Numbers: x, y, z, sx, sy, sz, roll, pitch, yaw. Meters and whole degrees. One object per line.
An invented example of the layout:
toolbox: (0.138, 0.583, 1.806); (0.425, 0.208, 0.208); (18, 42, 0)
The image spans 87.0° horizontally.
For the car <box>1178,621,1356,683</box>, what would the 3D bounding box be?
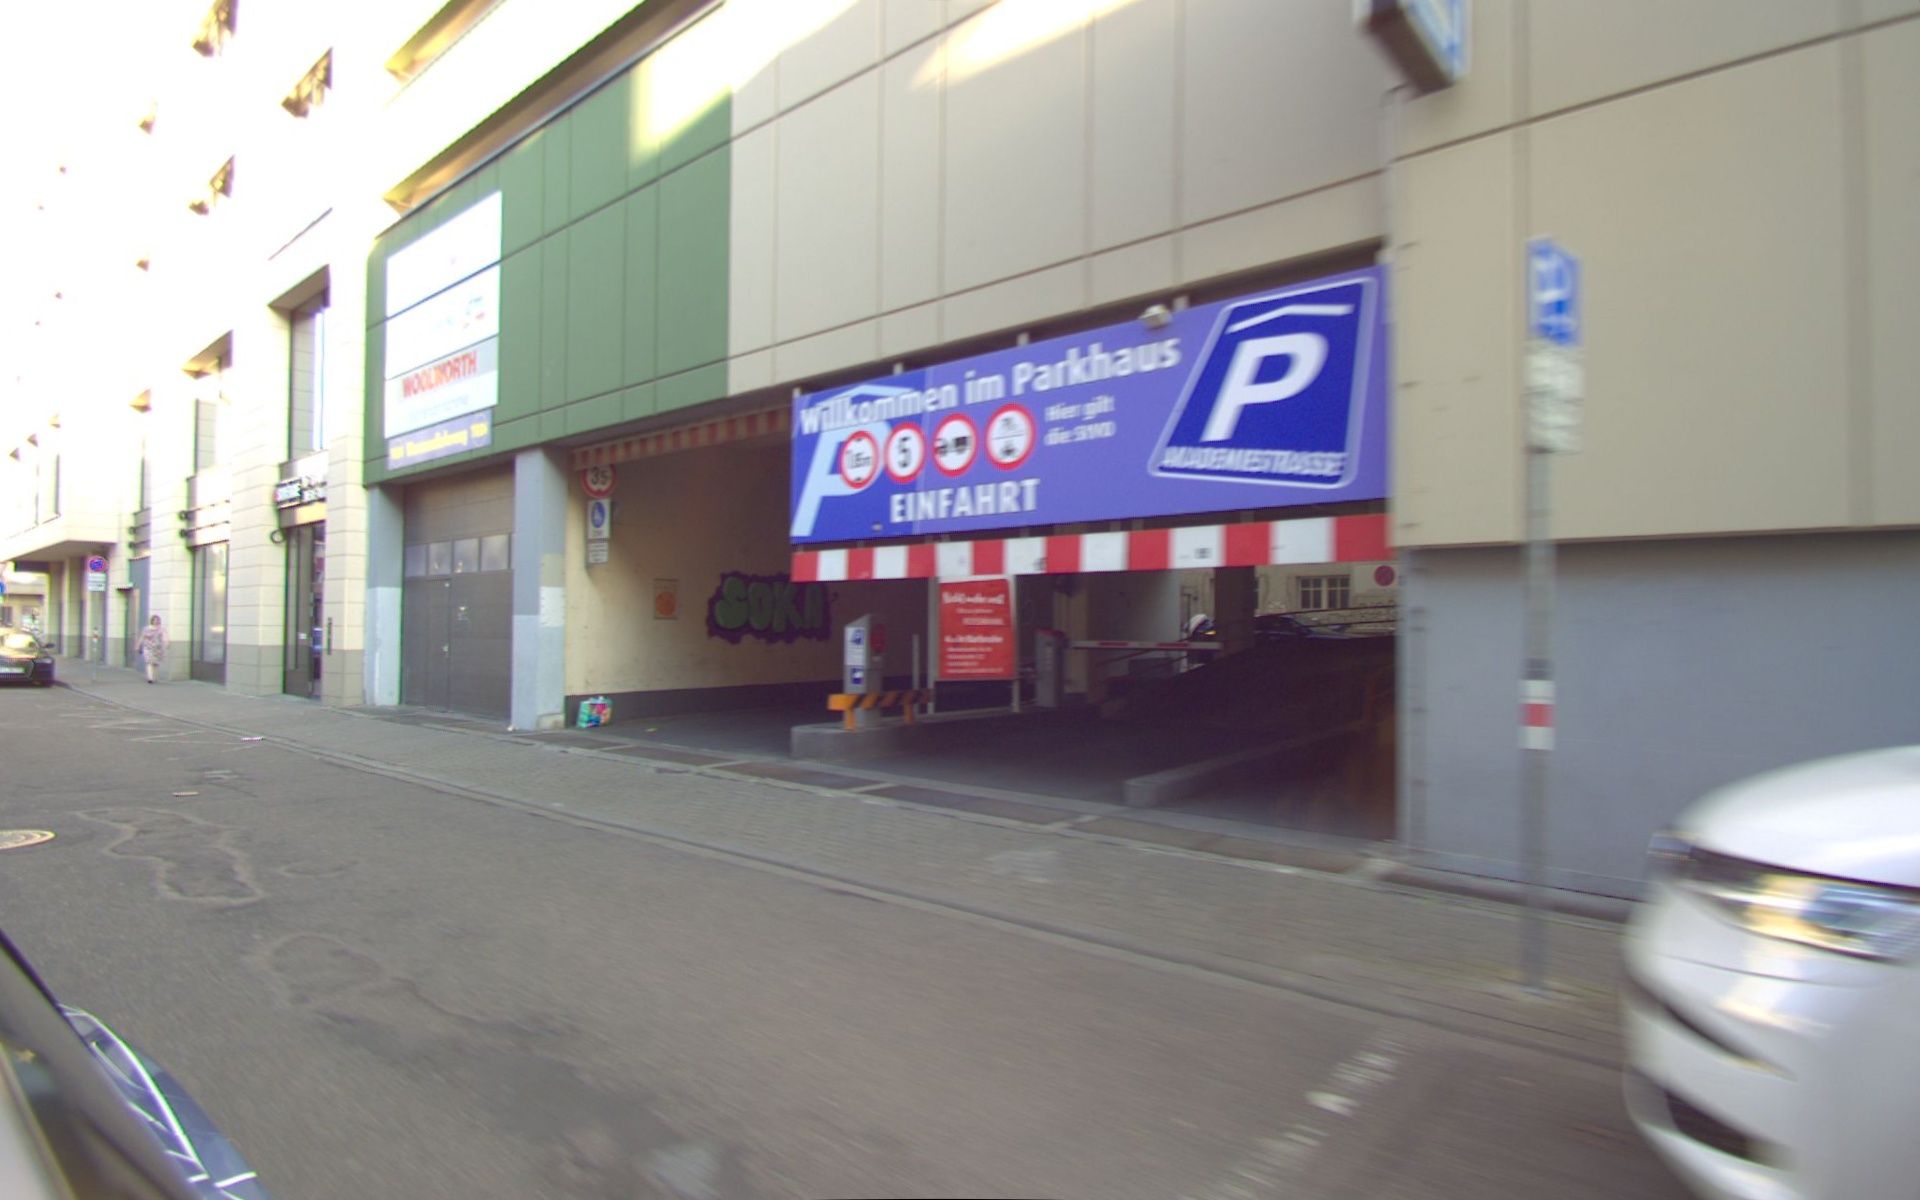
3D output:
car: (8.023, 1.311, 26.662); (4.204, 1.480, 1.610); (-1, 0, 41)

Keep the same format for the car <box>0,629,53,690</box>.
car: (-24.834, 1.474, 25.968); (4.560, 1.428, 1.971); (0, -3, 44)

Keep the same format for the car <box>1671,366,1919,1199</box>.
car: (3.907, 0.572, 1.238); (4.845, 1.955, 1.974); (-1, -4, 39)

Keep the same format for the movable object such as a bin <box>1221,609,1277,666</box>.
movable object such as a bin: (9.414, 1.198, 32.959); (1.272, 1.770, 1.347); (-1, 0, 42)

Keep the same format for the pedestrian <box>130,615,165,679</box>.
pedestrian: (-21.152, 1.215, 26.339); (0.565, 1.638, 0.612); (-2, -1, 41)

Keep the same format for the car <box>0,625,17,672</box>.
car: (-31.692, 1.527, 32.240); (3.623, 1.460, 1.796); (-1, -2, 37)
